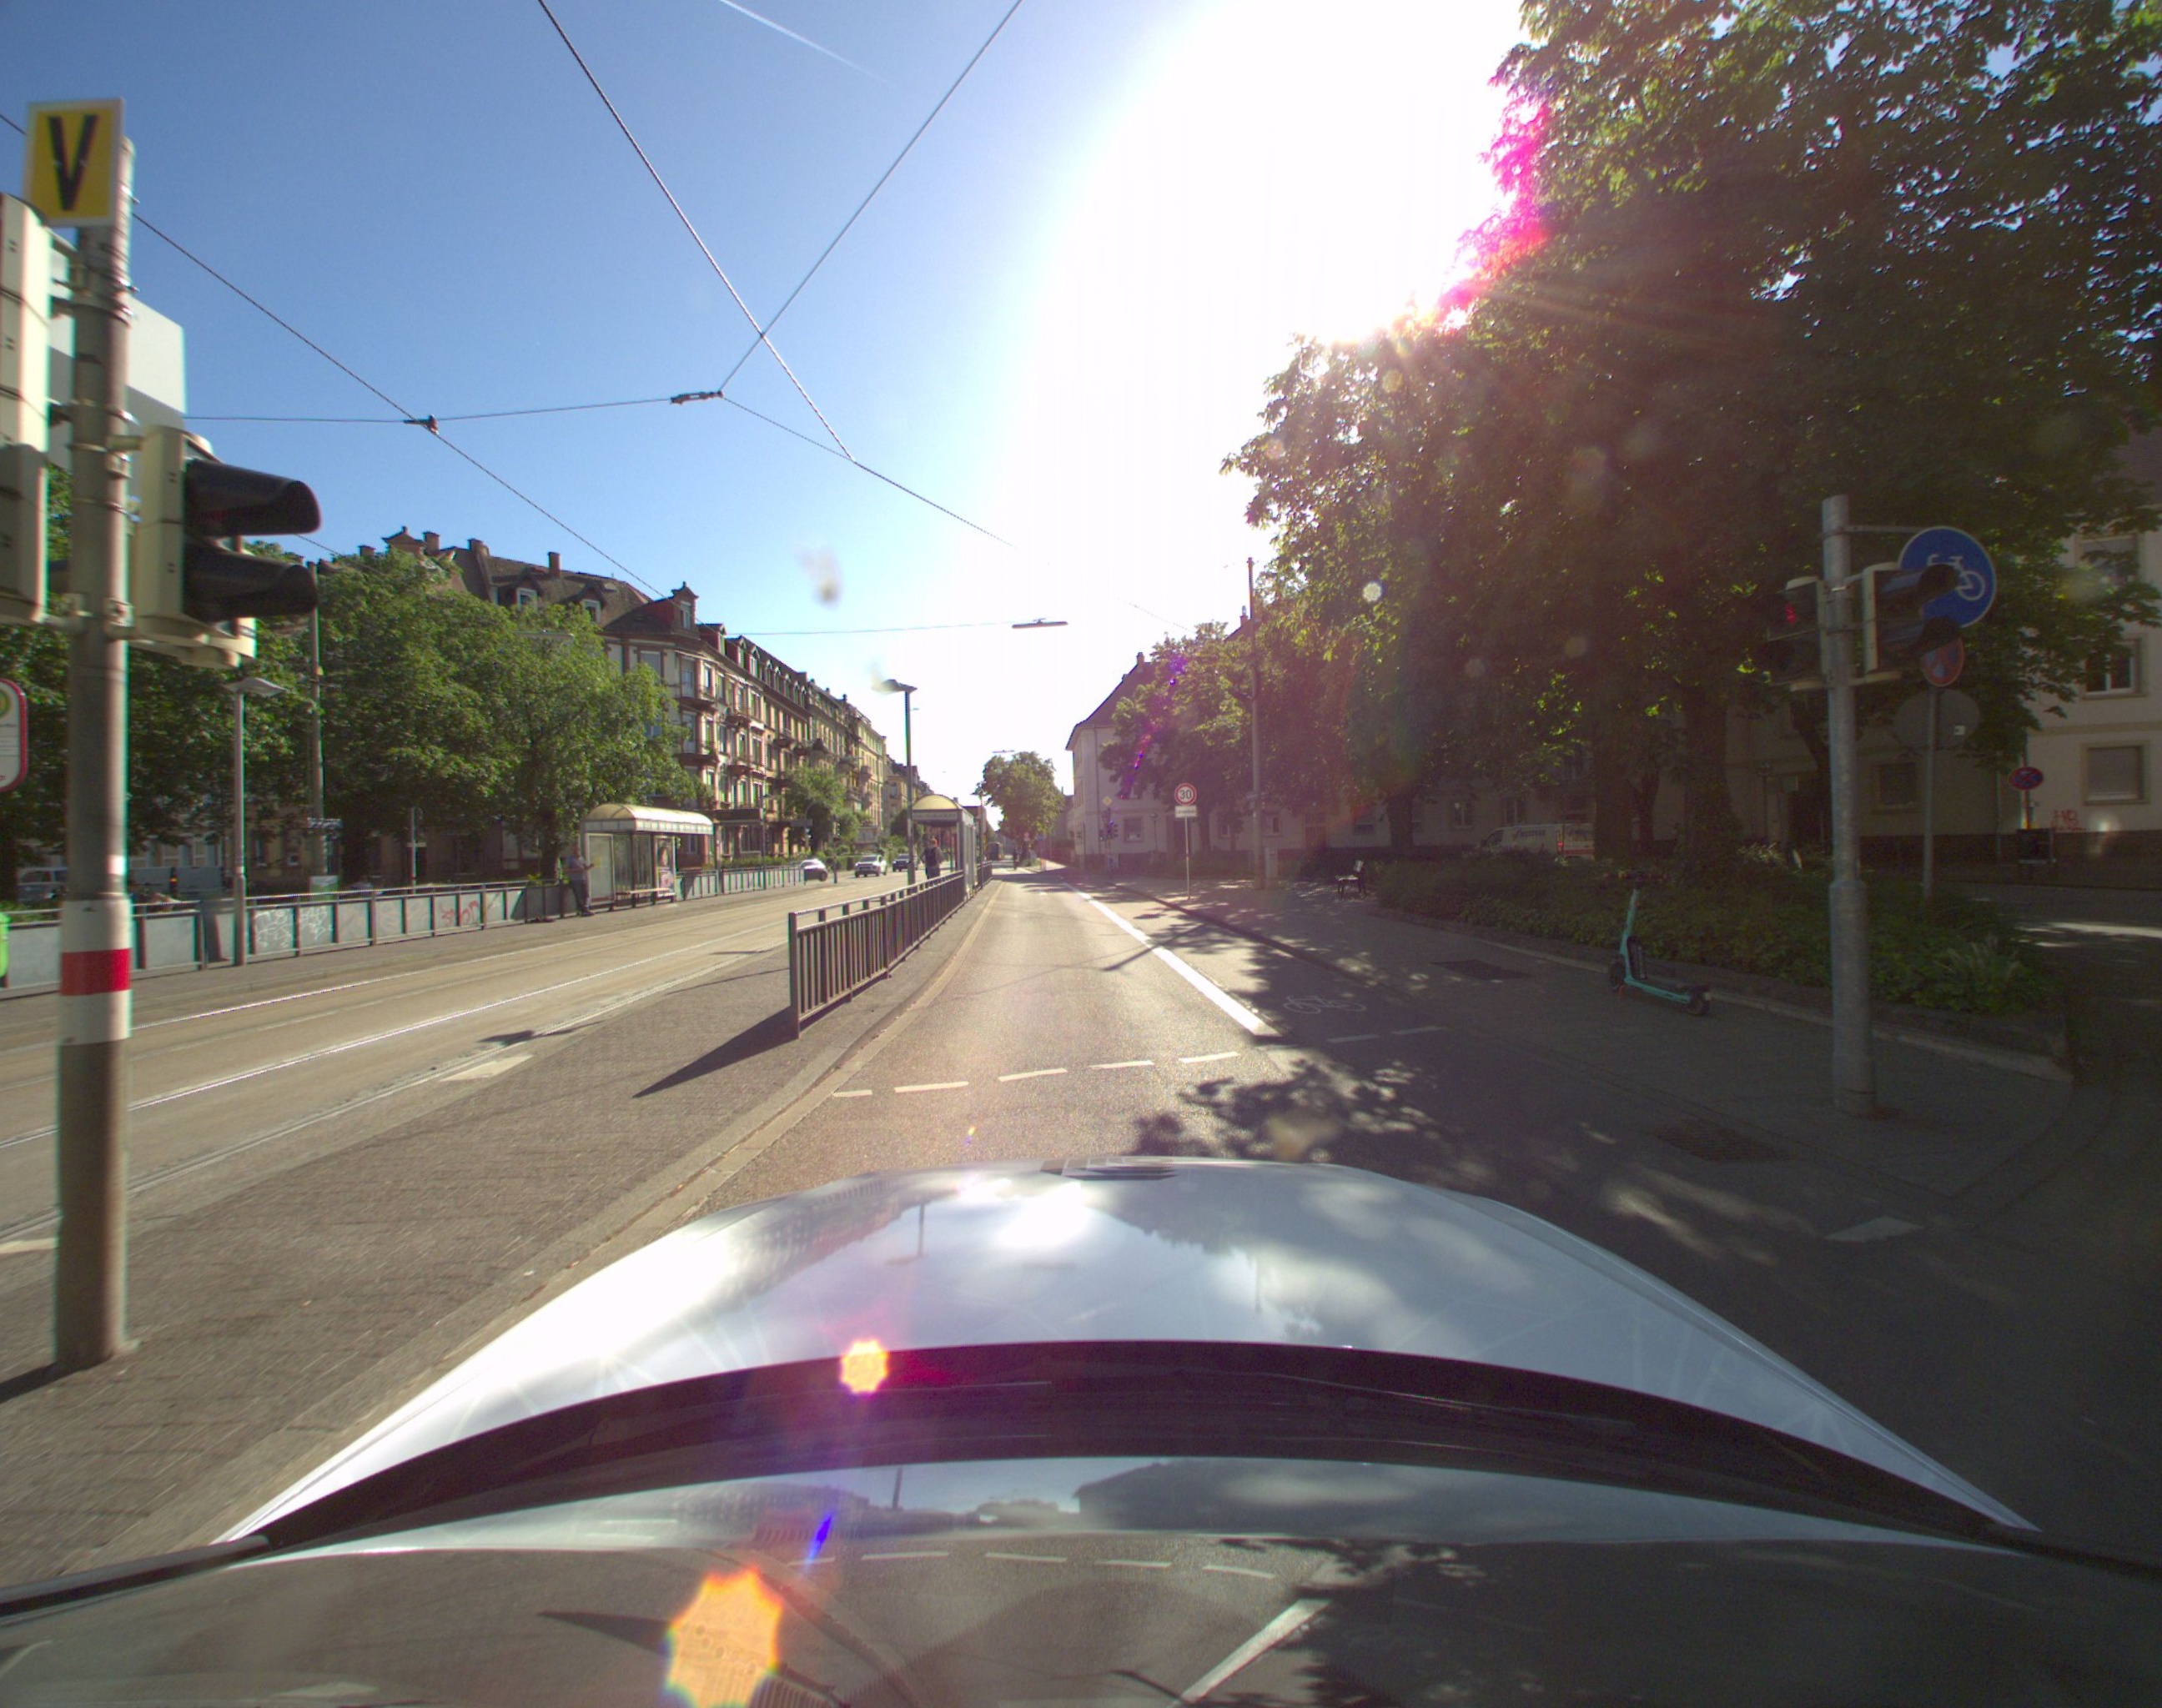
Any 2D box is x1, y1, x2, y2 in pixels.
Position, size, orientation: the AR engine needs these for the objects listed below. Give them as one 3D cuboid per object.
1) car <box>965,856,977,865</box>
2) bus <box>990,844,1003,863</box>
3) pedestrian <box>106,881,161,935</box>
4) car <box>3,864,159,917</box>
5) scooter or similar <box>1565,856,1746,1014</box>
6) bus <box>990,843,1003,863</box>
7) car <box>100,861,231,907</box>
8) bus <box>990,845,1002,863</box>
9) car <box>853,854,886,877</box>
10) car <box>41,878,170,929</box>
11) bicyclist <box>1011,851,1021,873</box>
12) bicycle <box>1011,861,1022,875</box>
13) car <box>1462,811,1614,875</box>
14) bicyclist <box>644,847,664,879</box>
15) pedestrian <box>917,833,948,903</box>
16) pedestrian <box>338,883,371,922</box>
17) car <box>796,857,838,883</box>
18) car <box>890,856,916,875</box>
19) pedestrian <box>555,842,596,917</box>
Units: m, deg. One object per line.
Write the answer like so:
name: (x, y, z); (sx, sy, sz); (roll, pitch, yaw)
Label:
car: (-19.967, 1.165, 147.994); (1.992, 1.596, 3.990); (-1, 0, -7)
bus: (-16.495, -0.101, 158.041); (2.383, 3.496, 7.367); (-1, 0, -6)
pedestrian: (-22.393, 1.269, 19.258); (0.608, 1.201, 0.575); (-3, 0, -21)
car: (-40.417, 1.463, 32.954); (4.545, 2.014, 2.006); (-1, -1, 10)
scooter or similar: (5.209, 0.682, 7.491); (0.674, 1.310, 1.327); (-1, -1, -3)
bus: (-15.698, -0.172, 150.700); (2.383, 3.496, 7.367); (-1, 0, -6)
car: (-42.553, 1.384, 37.865); (4.975, 2.014, 2.008); (-1, -1, 15)
bus: (-17.322, -0.035, 165.393); (2.383, 3.496, 7.367); (-1, 0, -6)
car: (-15.604, 0.836, 60.257); (1.773, 1.618, 3.992); (-1, 0, -6)
car: (-34.178, 1.677, 28.677); (1.760, 1.431, 3.959); (-3, 2, -33)
bicyclist: (-5.494, 0.669, 68.934); (0.816, 1.811, 1.057); (-1, -1, -5)
bicycle: (-5.467, 1.210, 68.941); (0.840, 1.156, 2.535); (-1, 0, -4)
car: (16.994, -0.373, 30.614); (2.123, 2.208, 4.917); (0, 0, -16)
bicyclist: (-22.804, 0.473, 43.502); (0.711, 1.665, 0.734); (-1, -1, 0)
pedestrian: (-4.339, 0.394, 23.912); (0.794, 2.014, 0.739); (-1, -1, -4)
pedestrian: (-23.655, 1.563, 26.527); (0.608, 1.201, 0.575); (-3, 0, -21)
car: (-17.226, 1.045, 53.279); (1.773, 1.618, 3.992); (-1, 0, -6)
car: (-16.241, 1.028, 74.455); (1.773, 1.618, 3.992); (-1, 0, -6)
pedestrian: (-12.472, 0.617, 20.111); (0.605, 1.795, 0.578); (-2, 0, -6)
